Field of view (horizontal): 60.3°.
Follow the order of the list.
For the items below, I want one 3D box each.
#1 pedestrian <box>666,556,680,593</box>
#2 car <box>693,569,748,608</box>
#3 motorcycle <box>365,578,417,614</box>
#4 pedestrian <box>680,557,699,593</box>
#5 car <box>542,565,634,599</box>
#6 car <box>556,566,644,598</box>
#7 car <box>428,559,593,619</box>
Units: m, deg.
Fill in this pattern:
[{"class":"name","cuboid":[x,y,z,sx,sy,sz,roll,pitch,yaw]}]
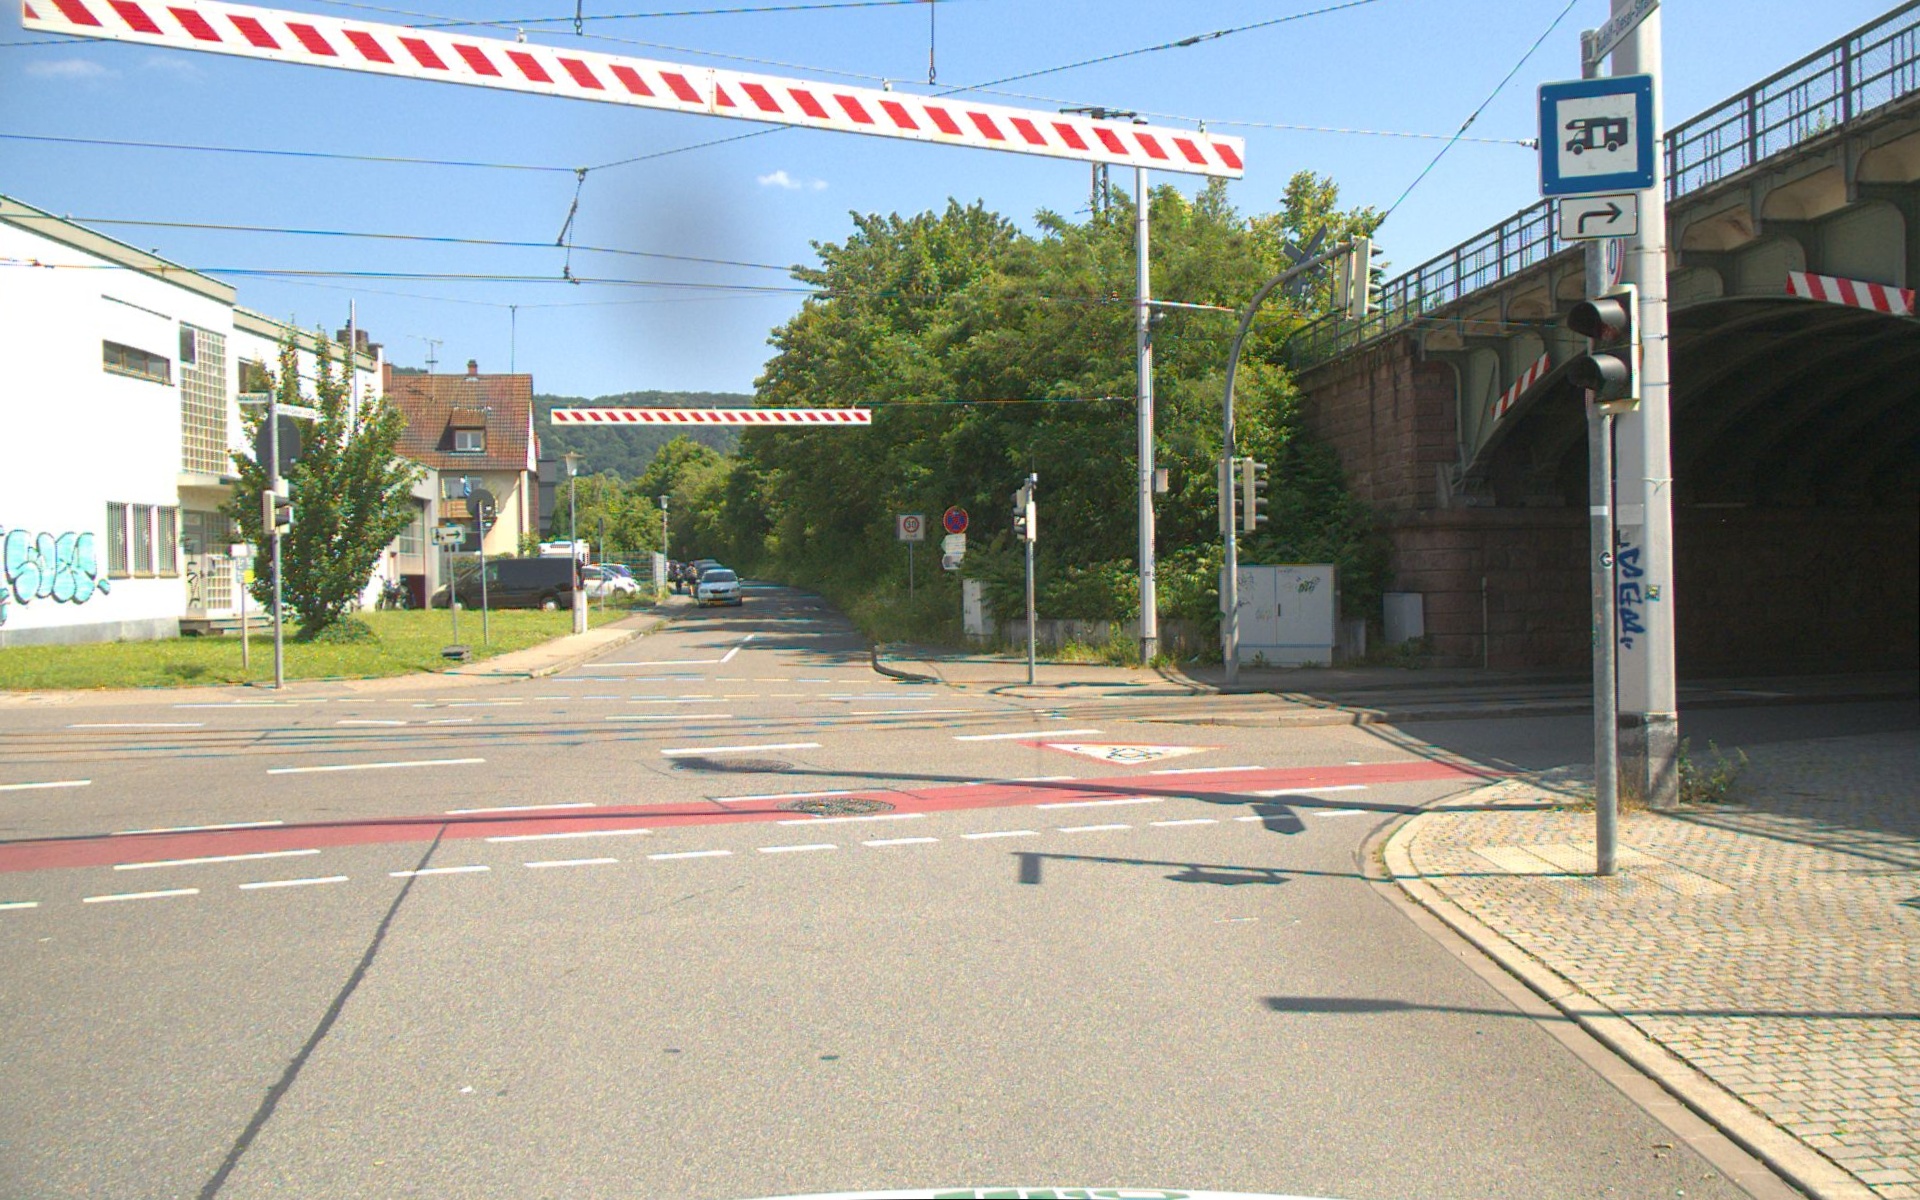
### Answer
[{"class":"pedestrian","cuboid":[-14.324,-1.278,82.647,0.641,1.793,0.802,1,-1,-7]},{"class":"car","cuboid":[-9.799,-0.509,68.021,2.046,1.536,4.534,1,1,-6]},{"class":"motorcycle","cuboid":[-17.456,-0.107,50.787,0.835,1.050,2.565,0,-1,-3]},{"class":"pedestrian","cuboid":[-13.516,-1.258,82.611,0.859,1.793,0.730,1,-1,-7]},{"class":"car","cuboid":[-15.880,-0.763,70.751,3.648,1.395,1.602,1,-1,-5]},{"class":"car","cuboid":[-15.945,-0.798,73.407,3.648,1.395,1.603,1,0,-5]},{"class":"car","cuboid":[-15.333,-0.391,56.642,5.149,1.848,1.997,-2,1,-8]}]
